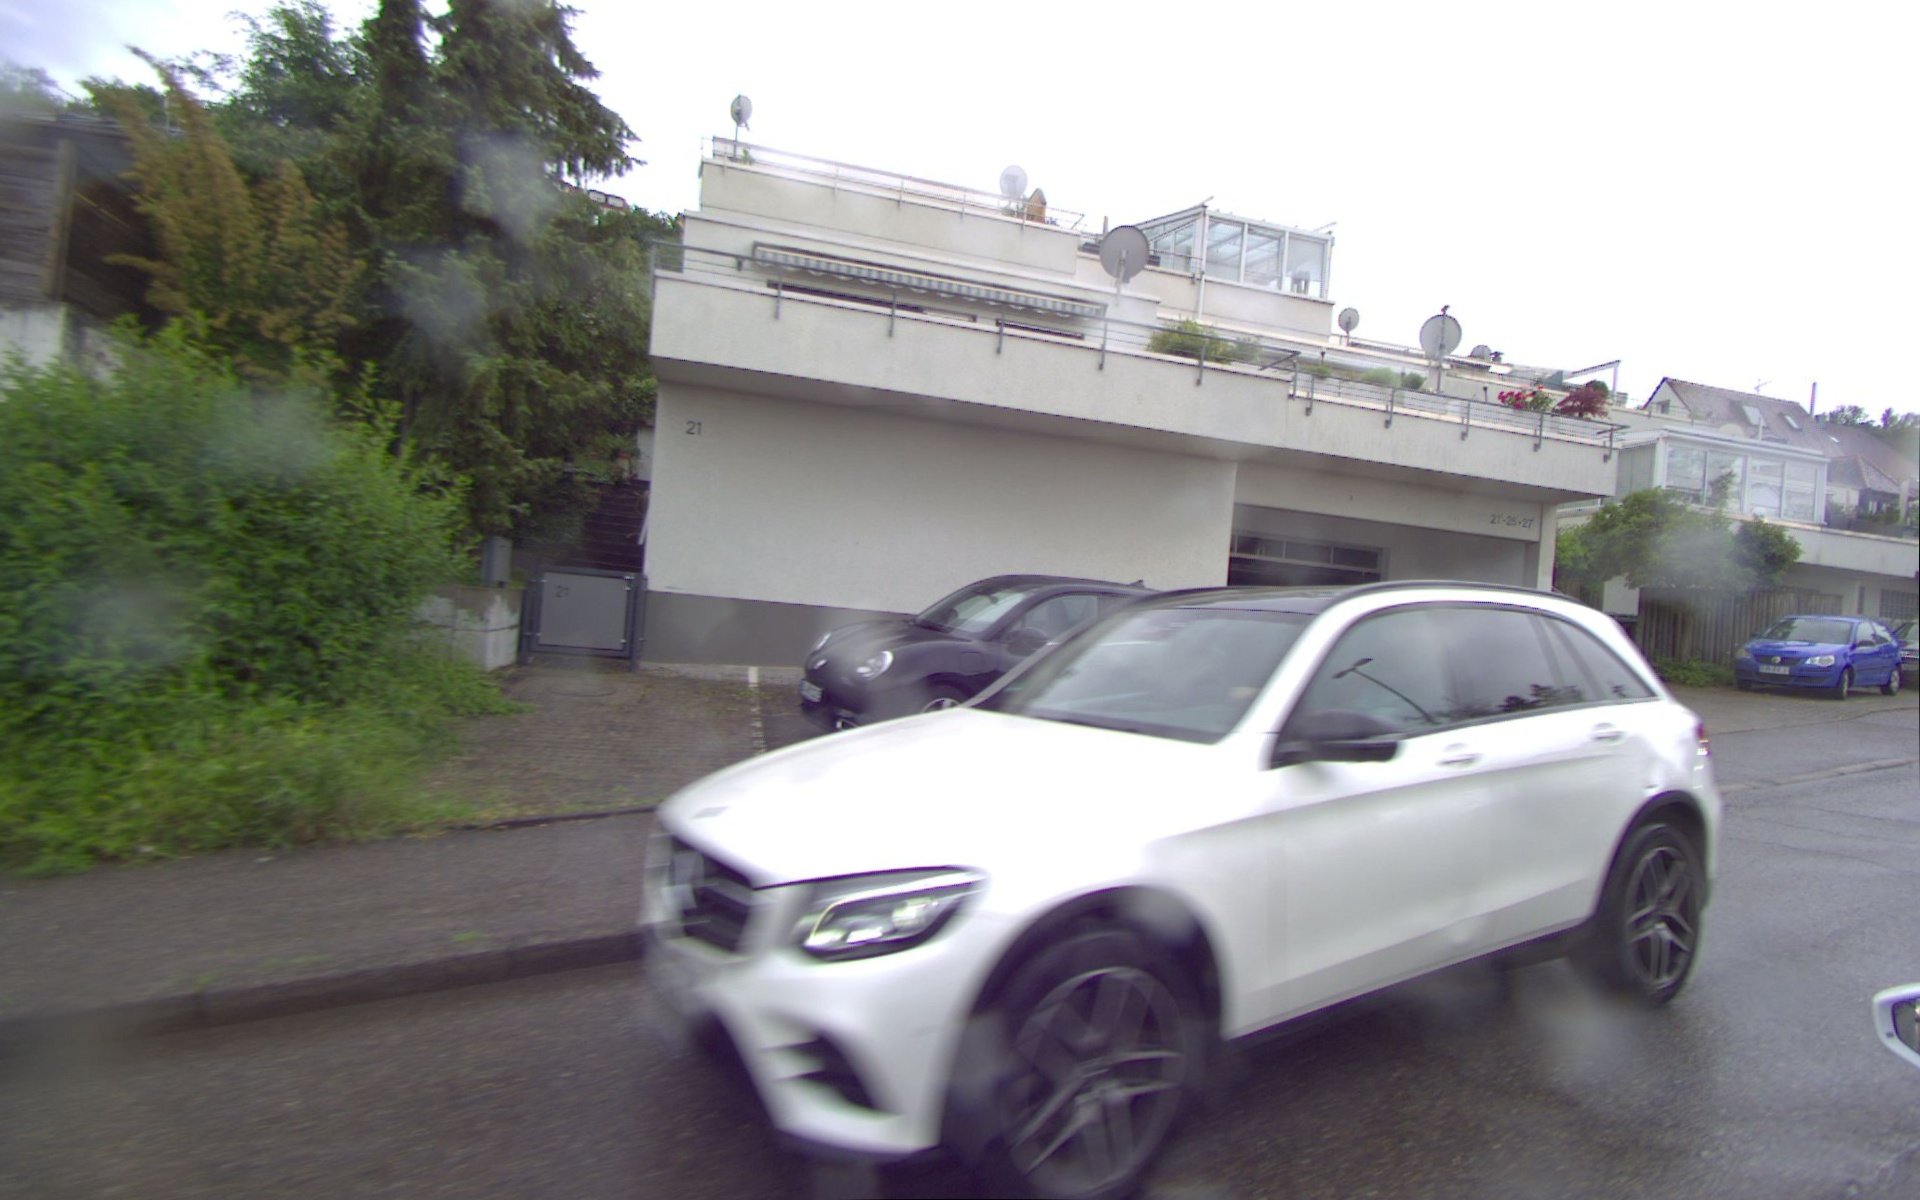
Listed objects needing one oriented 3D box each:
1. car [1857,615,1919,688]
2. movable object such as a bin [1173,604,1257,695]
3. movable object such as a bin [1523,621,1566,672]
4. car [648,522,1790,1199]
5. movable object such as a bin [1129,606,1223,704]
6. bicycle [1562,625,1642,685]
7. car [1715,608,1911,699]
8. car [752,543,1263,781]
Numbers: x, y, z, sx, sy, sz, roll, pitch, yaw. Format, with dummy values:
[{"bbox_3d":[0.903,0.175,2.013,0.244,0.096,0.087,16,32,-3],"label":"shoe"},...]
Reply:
[{"bbox_3d":[21.305,1.127,21.663,4.189,1.415,1.625,2,4,-30],"label":"car"},{"bbox_3d":[3.355,0.640,13.275,0.753,1.085,0.725,3,4,-12],"label":"movable object such as a bin"},{"bbox_3d":[12.869,1.019,22.137,0.552,1.055,0.546,2,2,-16],"label":"movable object such as a bin"},{"bbox_3d":[1.233,0.684,3.988,4.379,1.629,1.895,1,1,-32],"label":"car"},{"bbox_3d":[2.665,0.666,12.441,0.834,1.085,0.725,4,4,-12],"label":"movable object such as a bin"},{"bbox_3d":[12.404,1.047,19.462,0.469,1.020,1.568,2,1,-1],"label":"bicycle"},{"bbox_3d":[16.256,0.956,19.109,3.913,1.453,1.599,1,4,-31],"label":"car"},{"bbox_3d":[0.451,0.456,8.883,4.143,1.610,1.682,1,6,-27],"label":"car"}]
